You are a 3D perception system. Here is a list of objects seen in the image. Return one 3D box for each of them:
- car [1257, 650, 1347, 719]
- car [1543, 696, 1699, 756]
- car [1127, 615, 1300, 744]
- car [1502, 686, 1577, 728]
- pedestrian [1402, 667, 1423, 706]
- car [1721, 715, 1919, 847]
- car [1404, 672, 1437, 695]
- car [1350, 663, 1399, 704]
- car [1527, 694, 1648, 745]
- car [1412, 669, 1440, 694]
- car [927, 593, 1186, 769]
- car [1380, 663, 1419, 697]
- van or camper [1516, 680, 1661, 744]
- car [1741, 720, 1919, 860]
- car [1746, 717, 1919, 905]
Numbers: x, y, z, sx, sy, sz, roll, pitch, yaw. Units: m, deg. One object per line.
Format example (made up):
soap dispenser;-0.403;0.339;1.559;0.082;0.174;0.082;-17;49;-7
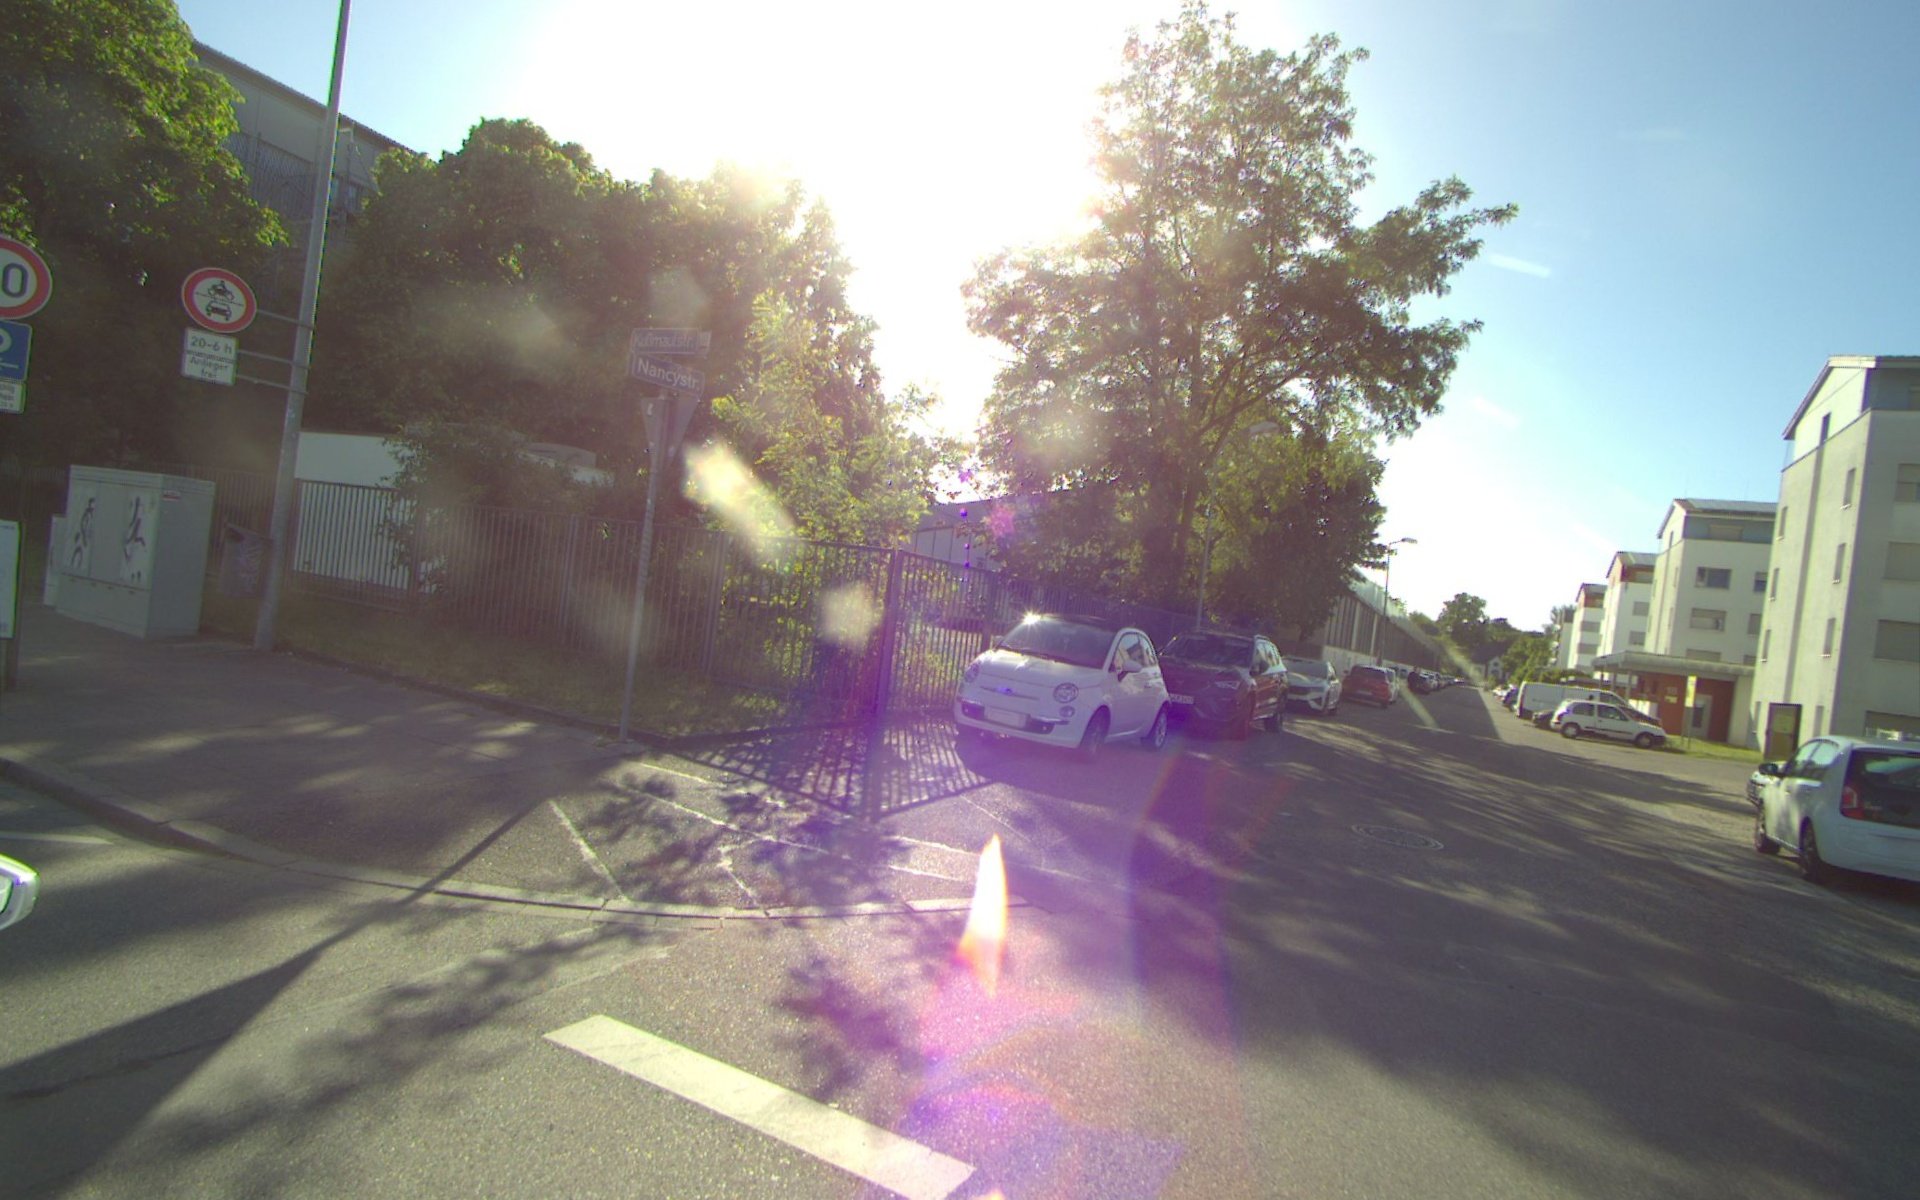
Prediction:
car;9.125;2.209;26.659;1.681;1.454;3.998;8;0;25
car;24.433;4.631;37.415;4.520;1.366;1.998;8;0;27
car;4.349;1.293;16.765;1.725;1.657;4.162;8;0;27
car;37.739;6.923;65.545;3.933;2.038;1.996;7;0;32
pedestrian;20.556;3.926;45.731;0.656;1.682;0.486;8;1;27
car;14.569;2.924;15.678;3.930;1.539;1.696;8;1;27
car;35.432;6.411;77.369;1.953;1.454;3.996;8;0;28
car;18.257;3.650;44.235;1.681;1.454;3.998;8;0;25
car;26.173;4.962;42.137;4.015;1.366;1.761;8;0;27
car;42.551;7.421;91.961;1.964;2.038;3.998;8;0;24
car;1.254;0.885;11.476;1.572;1.504;3.554;8;0;27
car;25.903;4.707;59.264;1.682;1.689;3.996;8;0;27
van or camper;28.037;4.961;45.108;5.205;1.982;1.997;8;0;29
car;13.311;2.736;13.615;3.930;1.488;1.696;8;1;27
car;9.520;2.117;10.365;1.686;1.476;3.331;8;0;31
